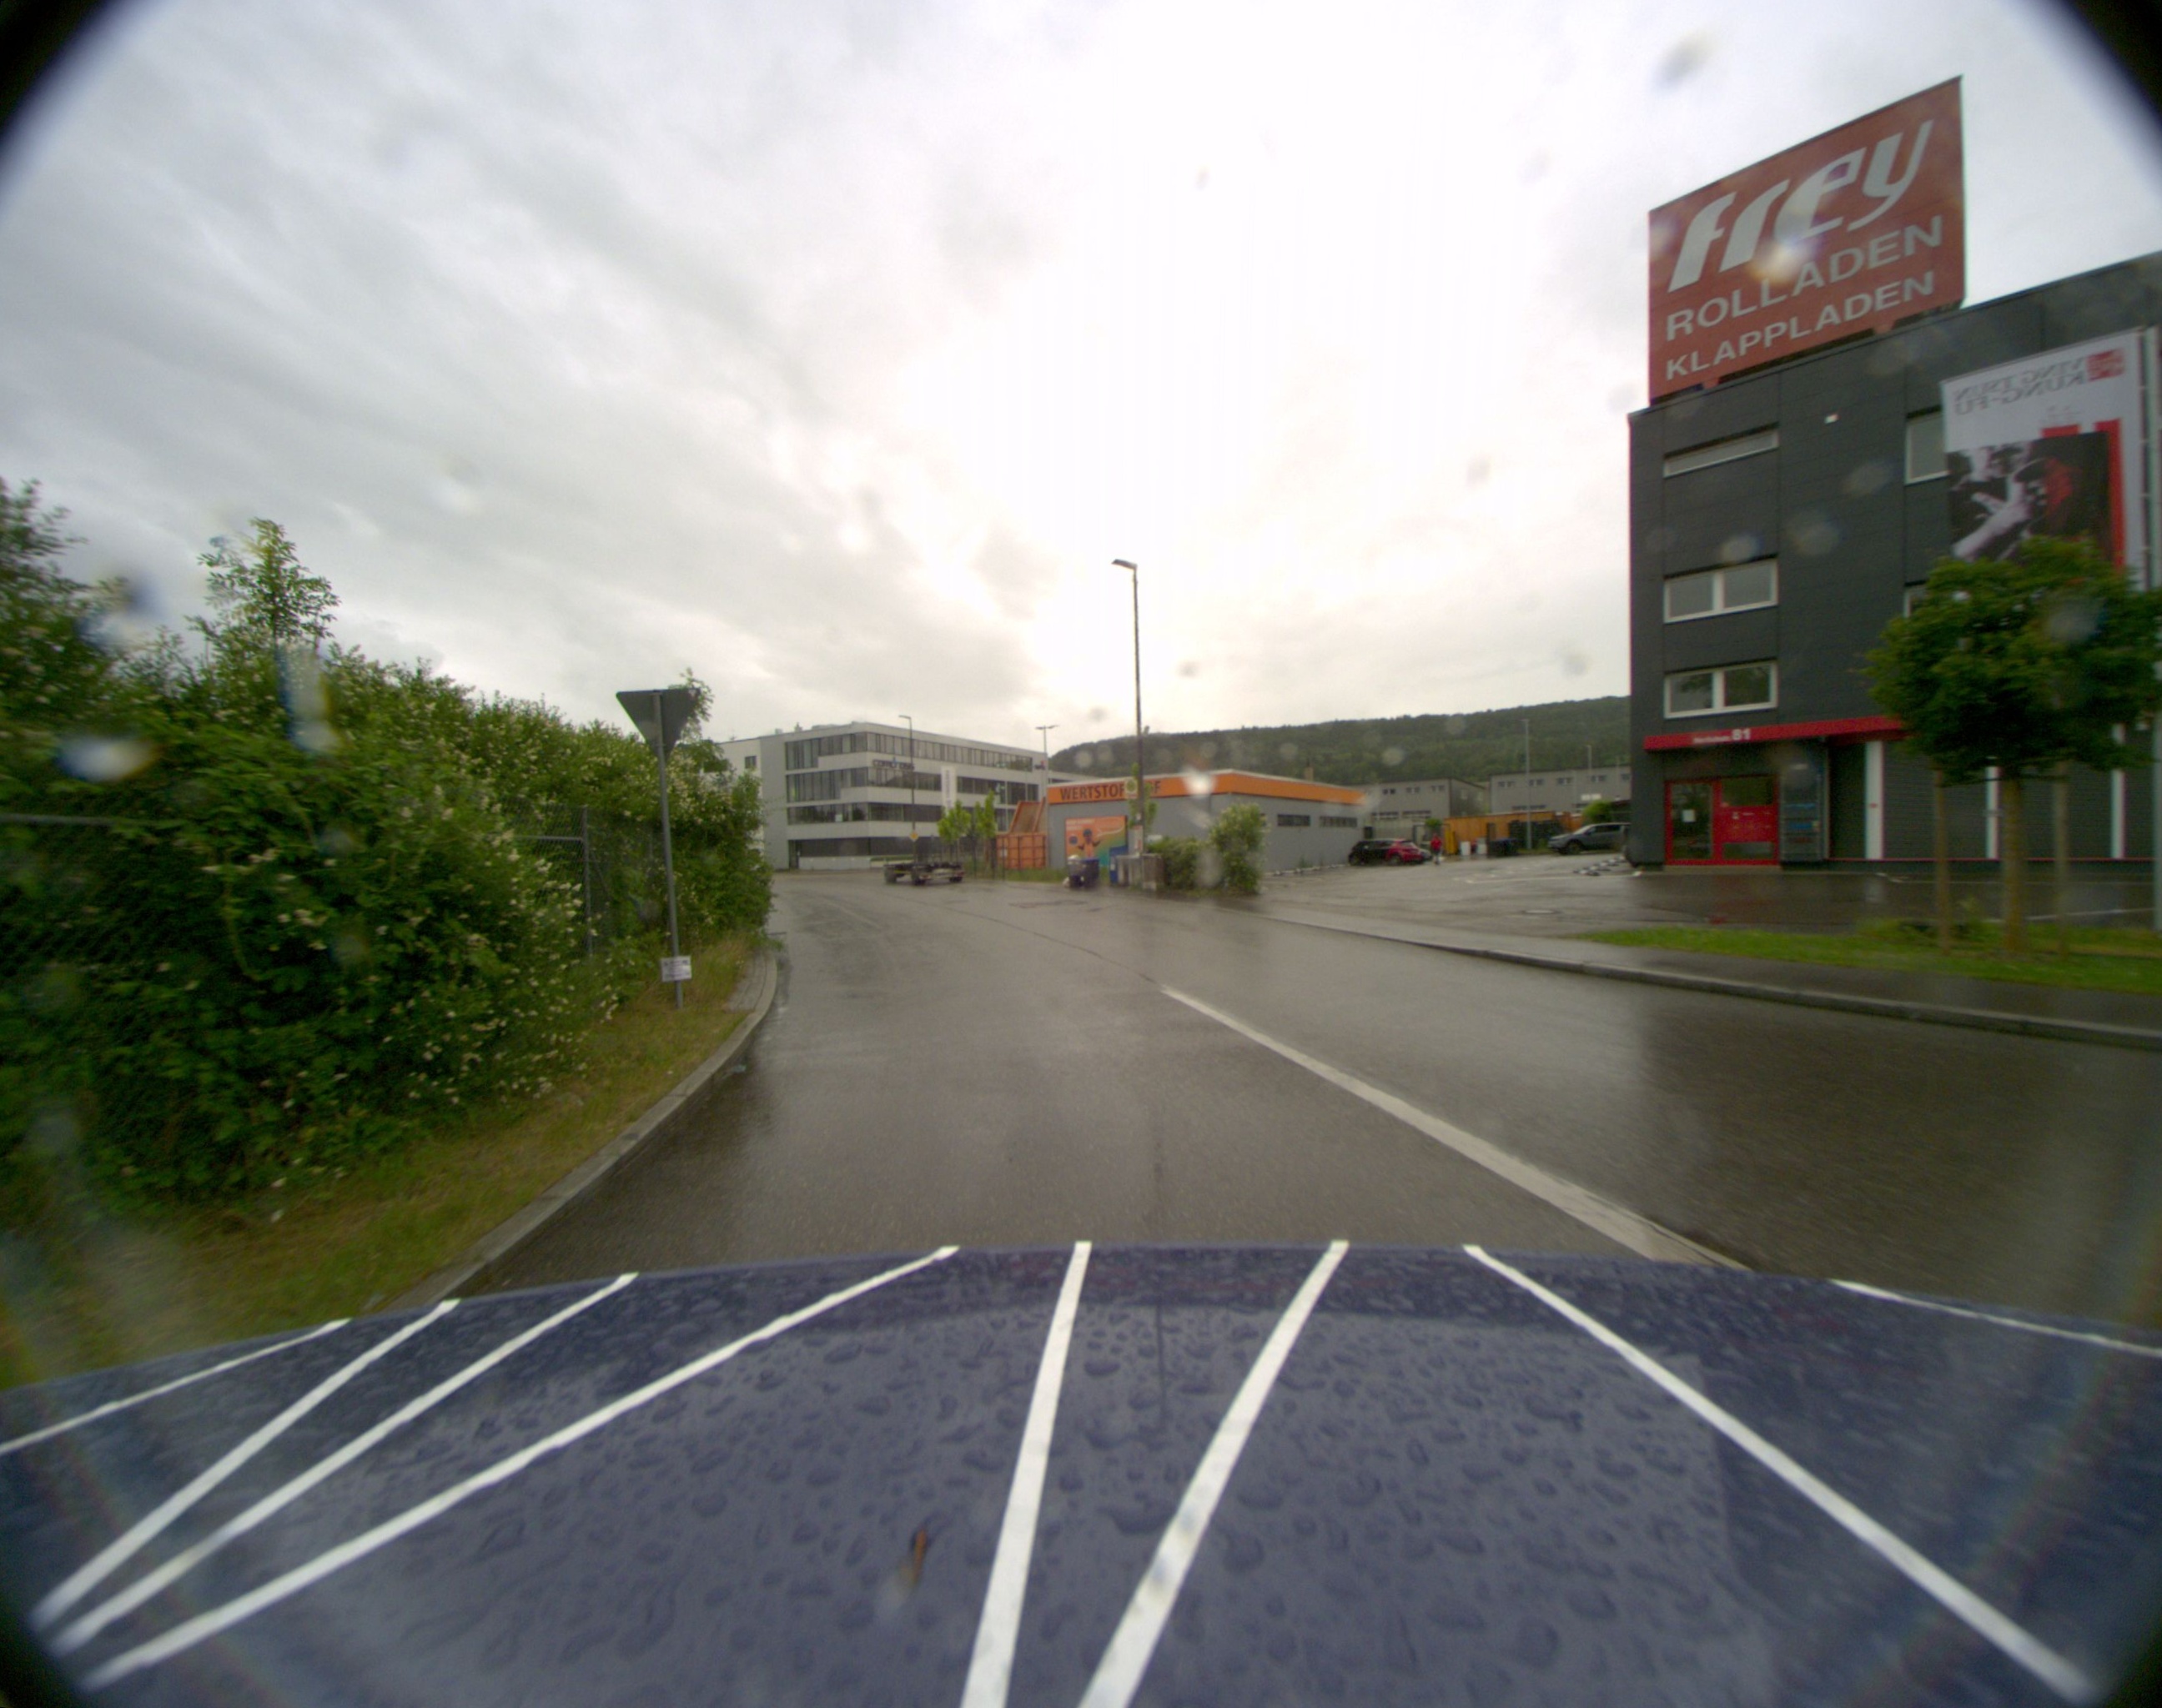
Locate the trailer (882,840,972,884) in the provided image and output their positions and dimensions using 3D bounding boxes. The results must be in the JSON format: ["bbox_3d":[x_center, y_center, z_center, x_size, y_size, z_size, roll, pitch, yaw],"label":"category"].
[{"bbox_3d":[-8.141,0.367,39.519,2.581,2.002,6.621,-3,1,-30],"label":"trailer"}]

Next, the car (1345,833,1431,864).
[{"bbox_3d":[16.770,-0.282,41.698,1.927,1.566,3.990,-2,1,-32],"label":"car"}]

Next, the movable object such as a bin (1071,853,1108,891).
[{"bbox_3d":[0.299,0.626,27.349,0.982,1.315,1.001,-2,1,-23],"label":"movable object such as a bin"}]

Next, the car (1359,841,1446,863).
[{"bbox_3d":[18.433,-0.084,43.732,1.936,1.154,4.185,-2,1,-39],"label":"car"}]

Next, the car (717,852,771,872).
[{"bbox_3d":[-35.006,0.781,79.059,1.994,1.755,4.774,-1,3,34],"label":"car"}]

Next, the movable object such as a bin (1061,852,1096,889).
[{"bbox_3d":[-0.094,0.614,28.285,0.982,1.315,1.001,-2,1,-23],"label":"movable object such as a bin"}]

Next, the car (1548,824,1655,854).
[{"bbox_3d":[26.807,-0.758,39.312,4.187,1.379,2.003,-1,1,19],"label":"car"}]

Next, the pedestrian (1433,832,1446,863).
[{"bbox_3d":[19.046,-0.343,40.387,0.430,1.662,0.705,0,1,42],"label":"pedestrian"}]
